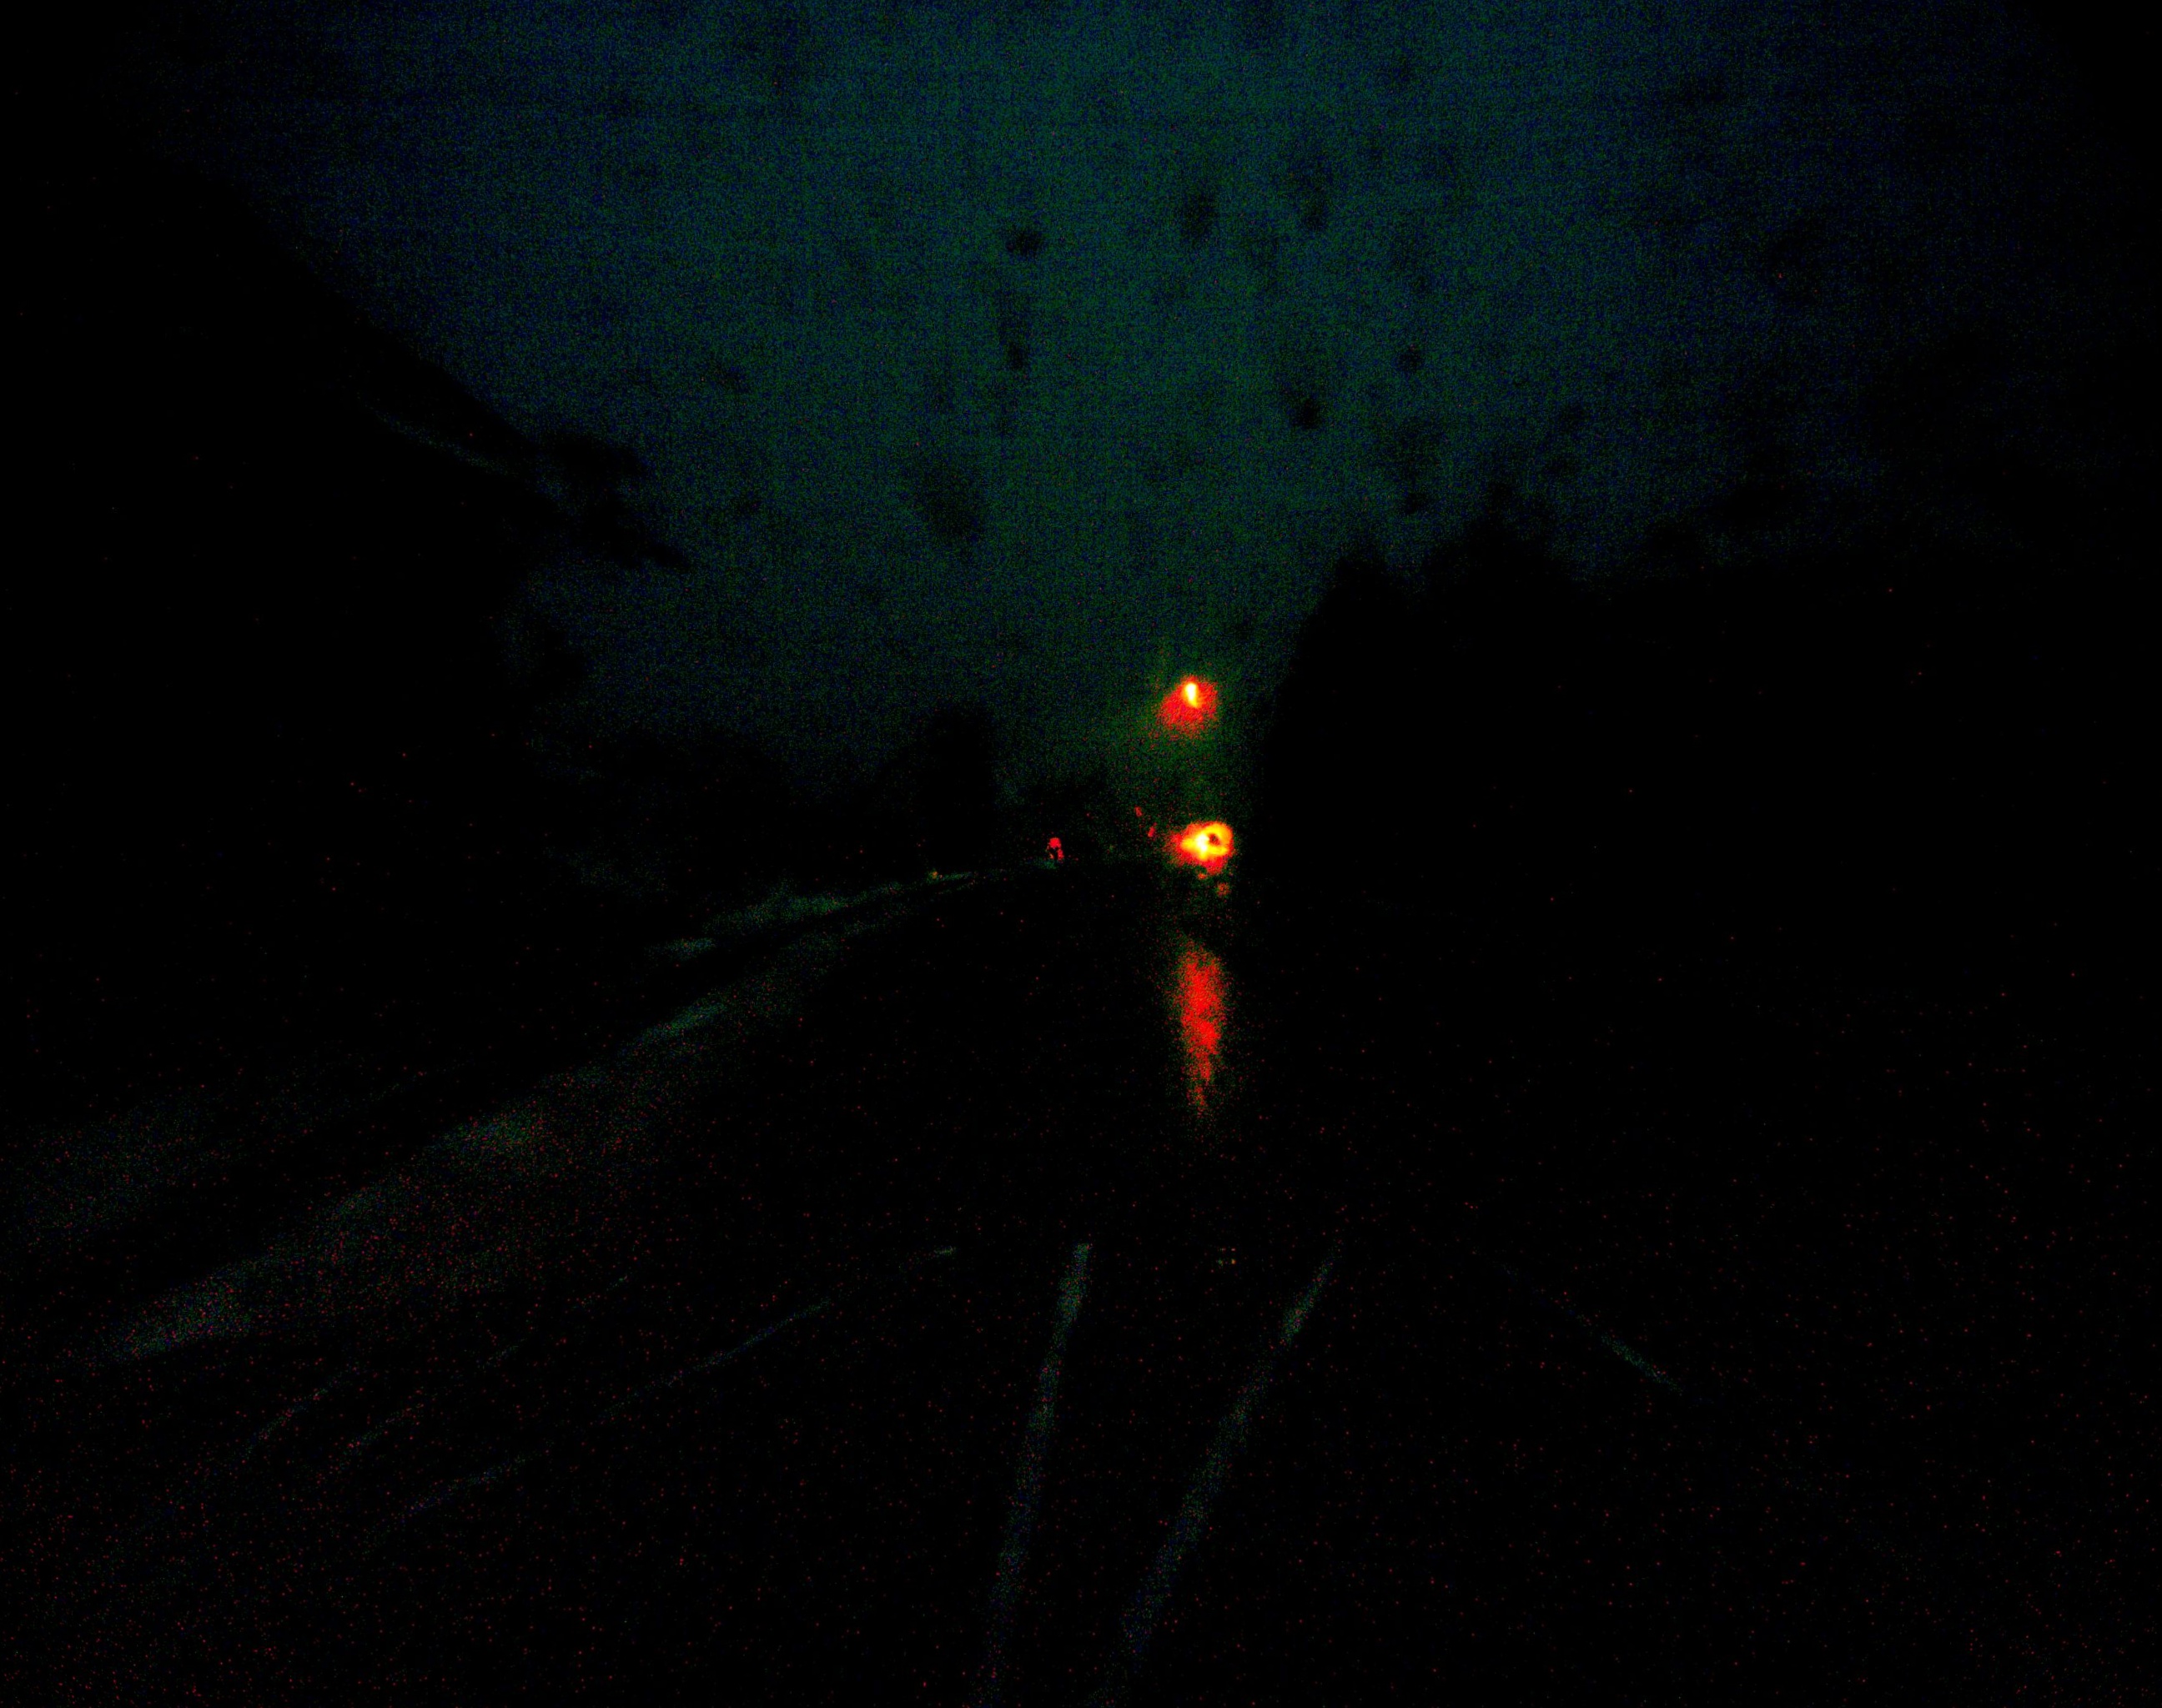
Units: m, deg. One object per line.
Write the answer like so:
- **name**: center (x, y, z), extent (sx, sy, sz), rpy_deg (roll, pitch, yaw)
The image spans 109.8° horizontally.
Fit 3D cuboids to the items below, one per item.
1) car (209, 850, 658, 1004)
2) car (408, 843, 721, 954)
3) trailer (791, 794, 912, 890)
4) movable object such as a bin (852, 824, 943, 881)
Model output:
- **car**: center (-7.755, 0.766, 9.315), extent (4.165, 1.550, 1.947), rpy_deg (1, 2, 10)
- **car**: center (-8.509, 0.639, 12.662), extent (4.248, 1.550, 2.002), rpy_deg (1, 2, 15)
- **trailer**: center (-9.169, -0.542, 31.021), extent (2.881, 3.541, 5.062), rpy_deg (-1, 2, 5)
- **movable object such as a bin**: center (-8.479, -0.158, 35.608), extent (2.391, 2.455, 4.518), rpy_deg (-1, 2, 12)
